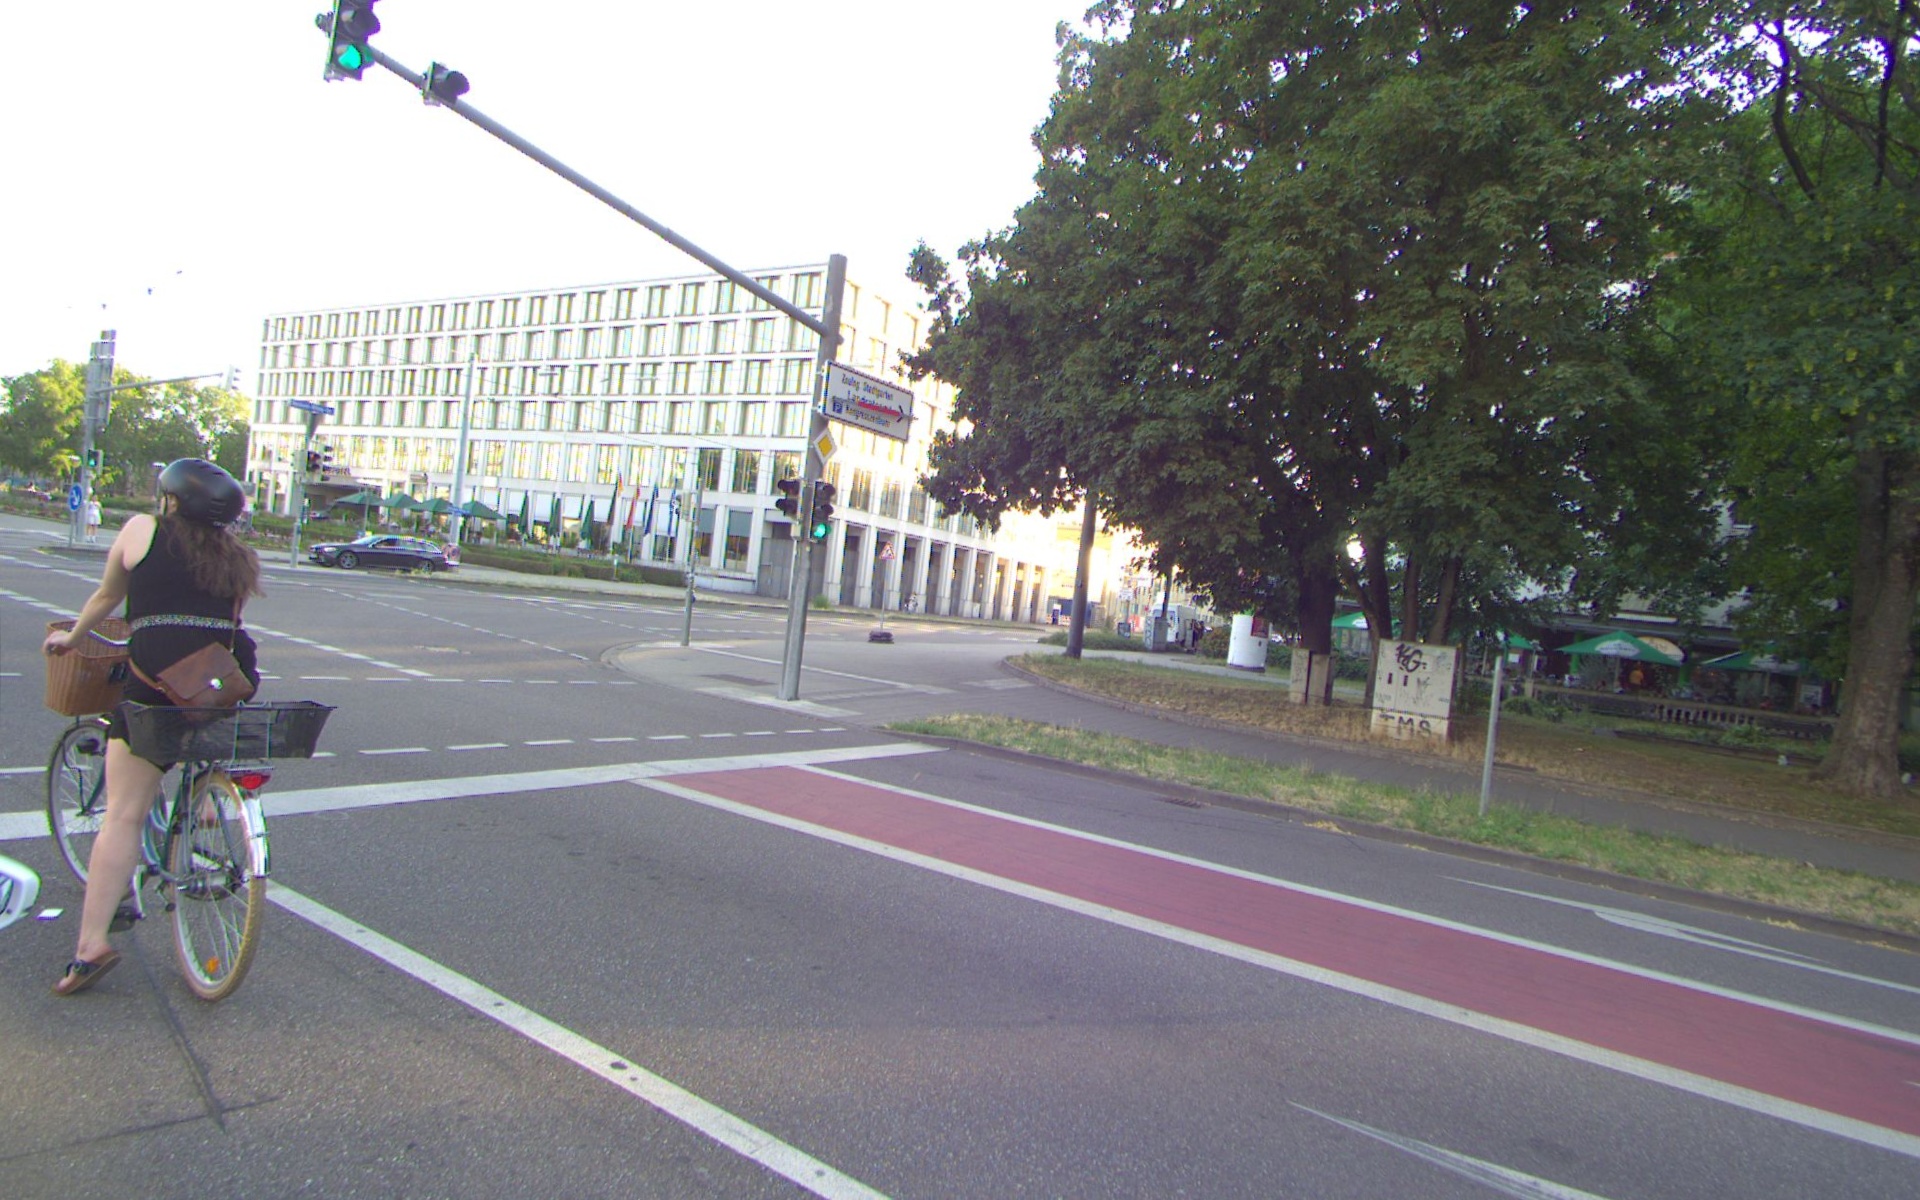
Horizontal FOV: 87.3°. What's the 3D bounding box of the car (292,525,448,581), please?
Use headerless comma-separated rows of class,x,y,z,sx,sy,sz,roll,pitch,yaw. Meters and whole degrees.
car,-23.007,-1.799,39.440,1.968,1.534,4.826,7,0,34

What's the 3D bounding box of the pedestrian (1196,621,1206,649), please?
pedestrian,13.387,1.951,55.809,0.302,1.525,0.336,7,-1,31

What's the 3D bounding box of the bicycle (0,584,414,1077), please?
bicycle,-2.787,0.623,3.443,1.971,1.146,0.612,7,-1,32

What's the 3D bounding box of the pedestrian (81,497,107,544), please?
pedestrian,-30.199,-2.777,35.086,0.402,1.559,0.491,7,2,31

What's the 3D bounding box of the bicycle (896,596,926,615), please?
bicycle,-3.323,0.379,68.589,0.592,1.120,2.775,7,0,29

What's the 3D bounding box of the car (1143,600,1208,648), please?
car,11.943,1.355,55.584,1.967,2.318,4.605,6,0,31

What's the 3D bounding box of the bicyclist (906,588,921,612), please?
bicyclist,-3.174,-0.022,68.772,0.567,1.556,0.708,7,1,29

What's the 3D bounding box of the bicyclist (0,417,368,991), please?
bicyclist,-2.673,0.279,3.403,0.982,1.655,0.600,7,0,32
